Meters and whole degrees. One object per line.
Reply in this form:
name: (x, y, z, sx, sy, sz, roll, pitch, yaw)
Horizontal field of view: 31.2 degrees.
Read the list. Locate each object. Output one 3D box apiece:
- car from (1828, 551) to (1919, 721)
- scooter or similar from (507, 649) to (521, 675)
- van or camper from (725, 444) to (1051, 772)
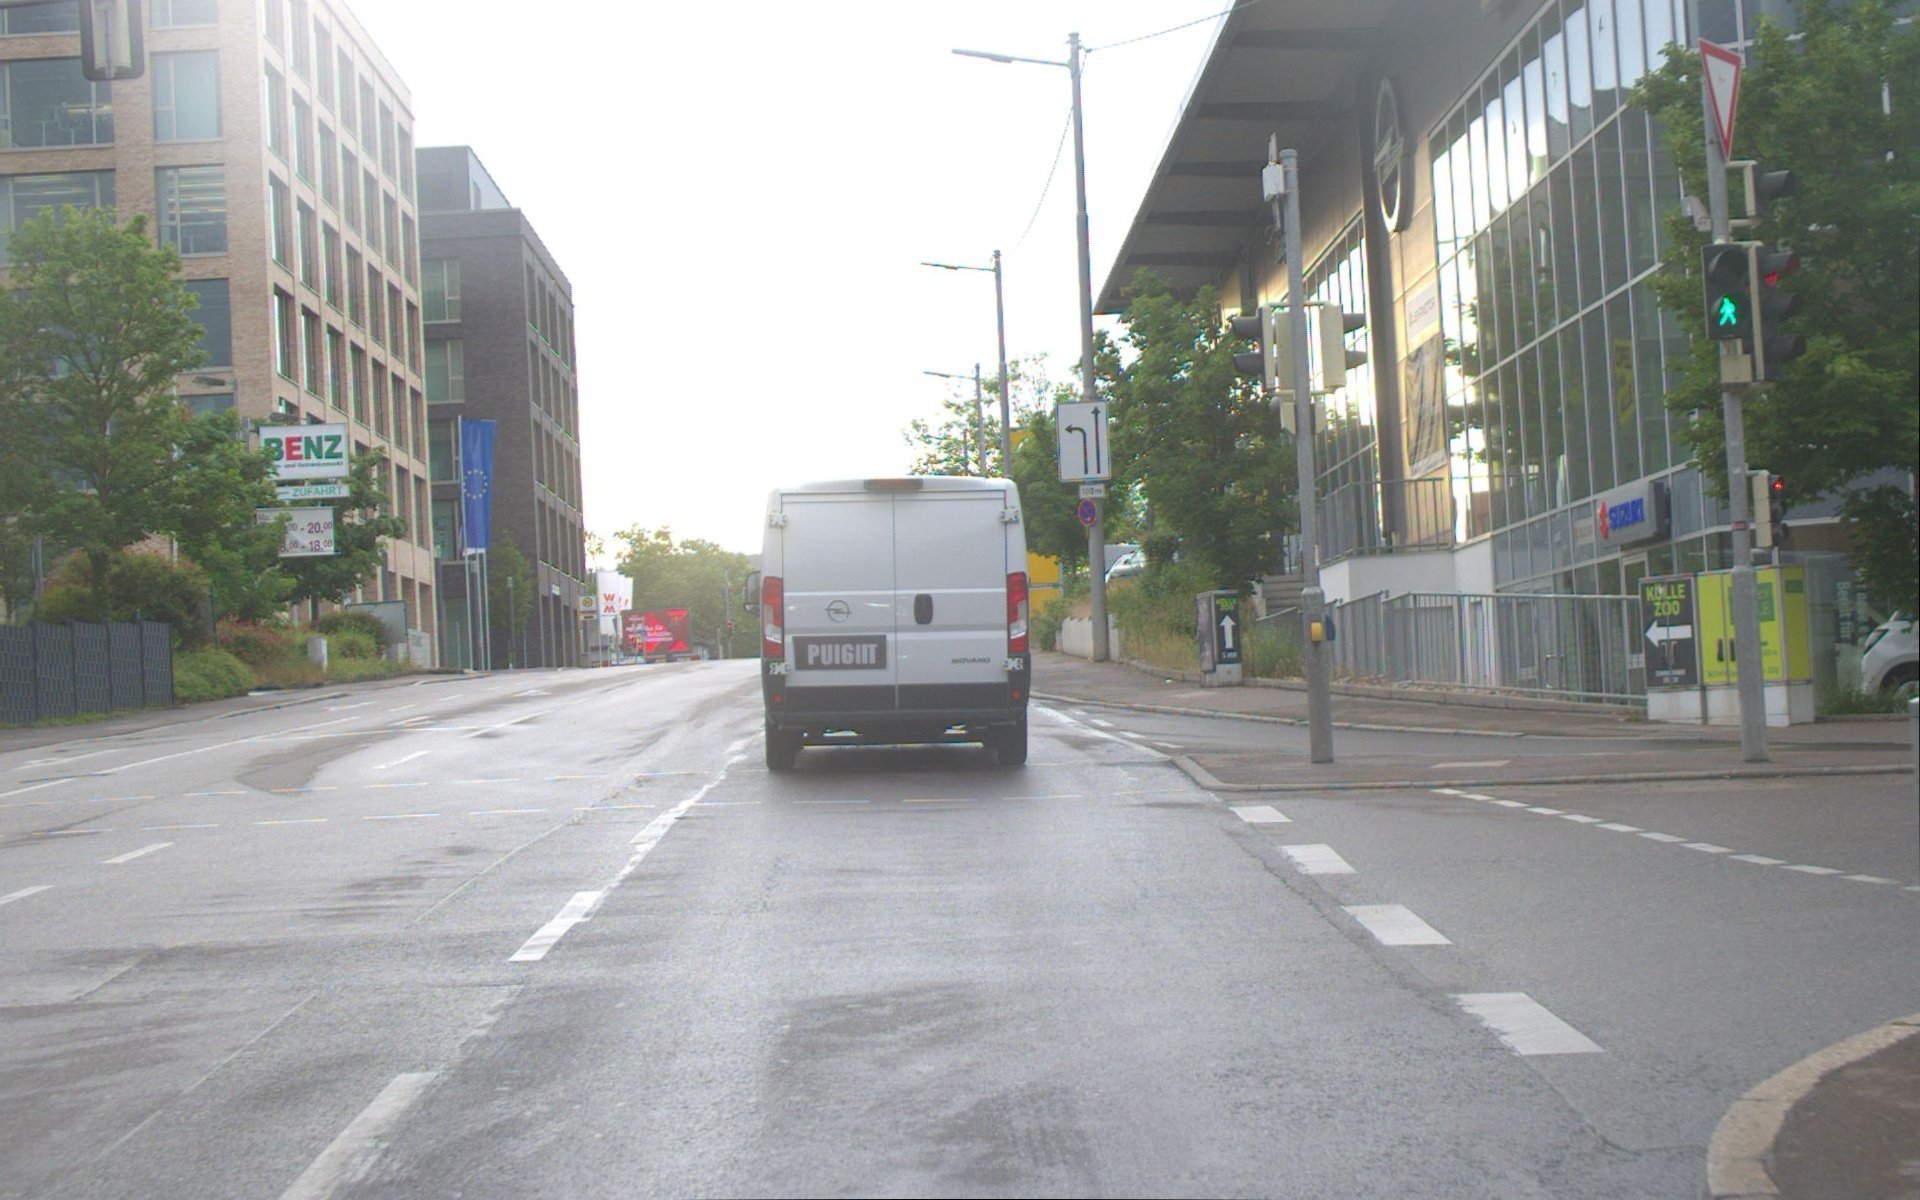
car: (10.250, 0.279, 31.676, 3.992, 1.503, 1.895, -3, -4, 27)
scooter or similar: (-18.514, 2.573, 142.699, 0.351, 1.068, 1.428, -2, -3, 0)
van or camper: (-0.550, 0.082, 28.019, 2.340, 2.349, 5.199, -2, -1, 0)
